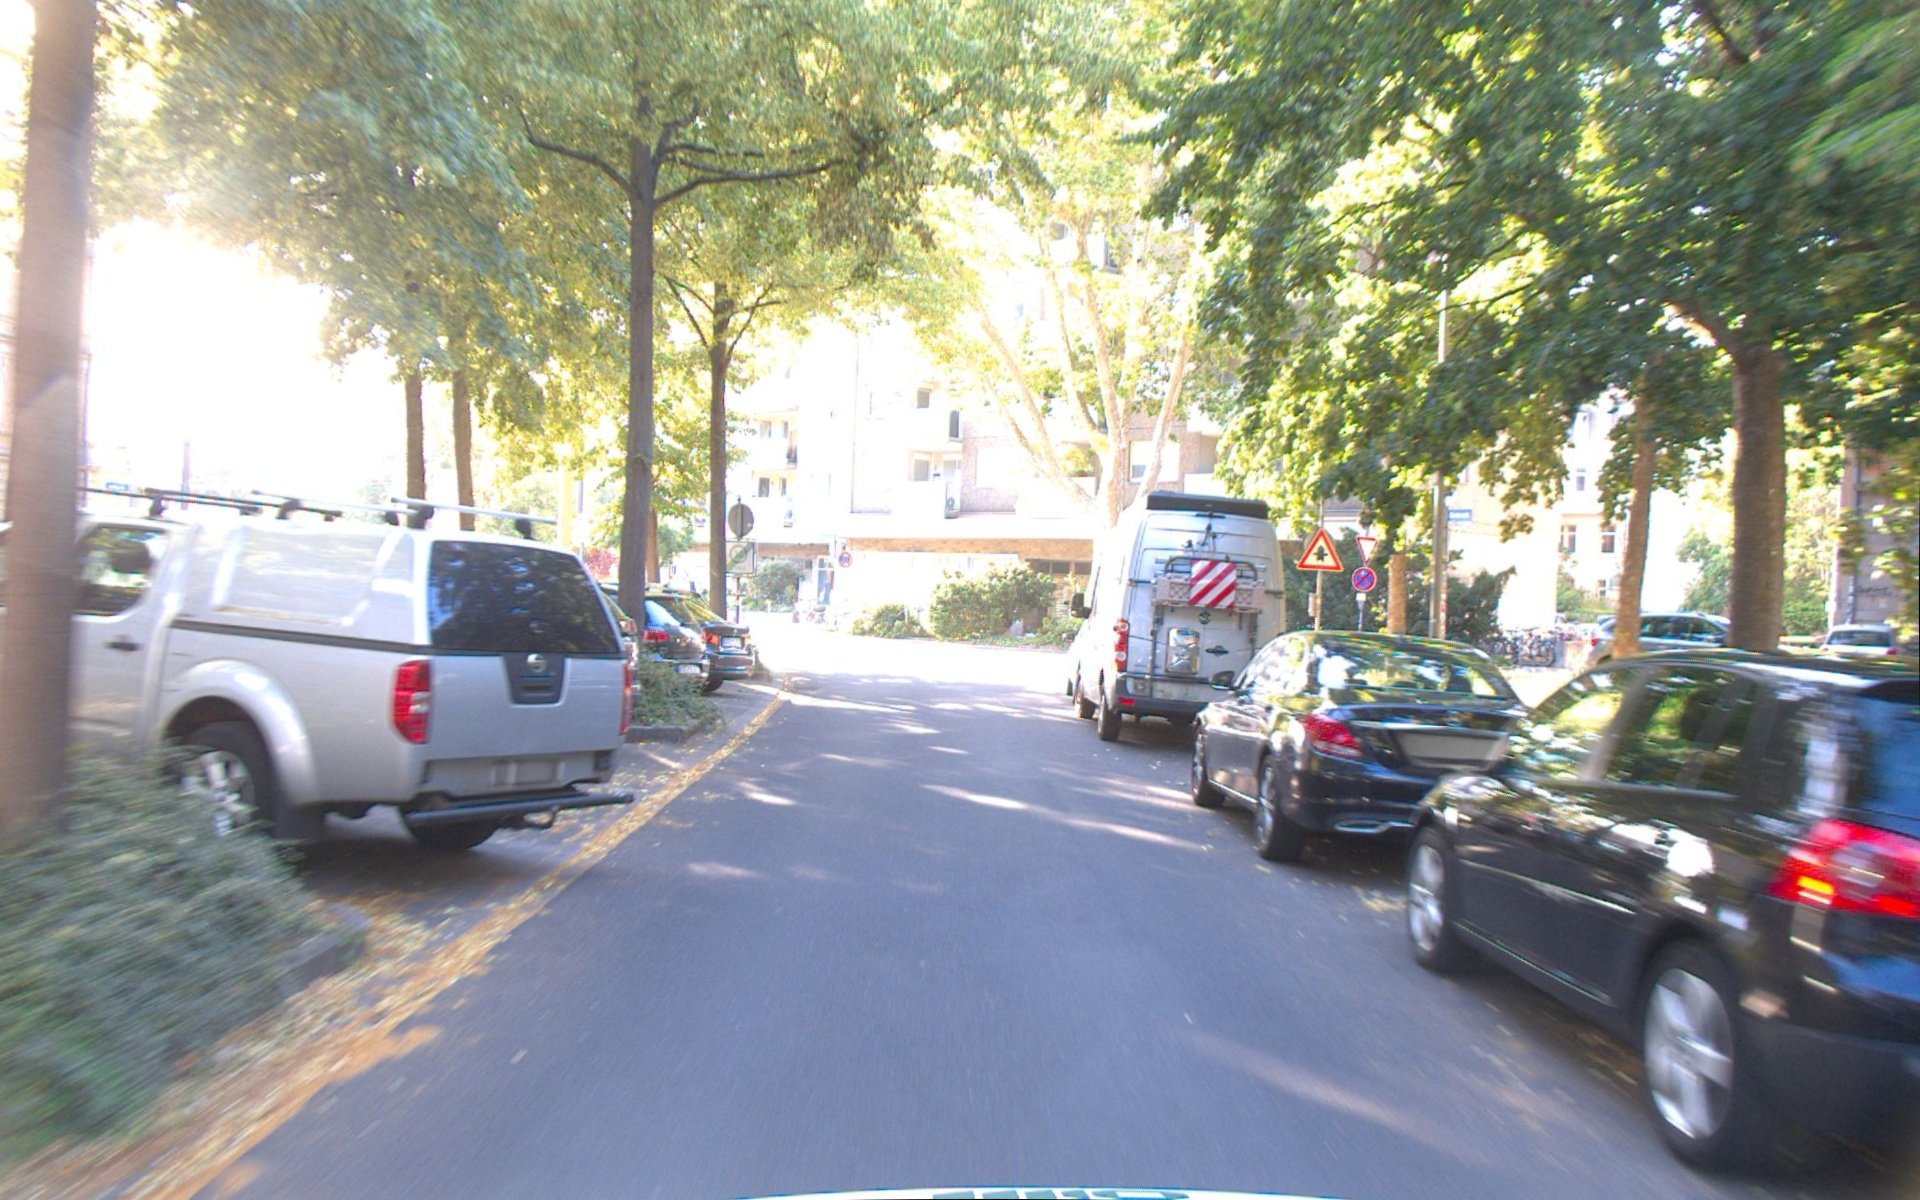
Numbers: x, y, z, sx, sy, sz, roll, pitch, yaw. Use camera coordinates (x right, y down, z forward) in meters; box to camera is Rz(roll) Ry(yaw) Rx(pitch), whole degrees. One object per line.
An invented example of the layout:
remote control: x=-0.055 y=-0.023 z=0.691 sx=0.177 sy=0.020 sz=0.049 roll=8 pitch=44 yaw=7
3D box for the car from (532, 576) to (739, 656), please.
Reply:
car: x=-7.000 y=0.345 z=35.835 sx=3.942 sy=1.430 sz=1.776 roll=3 pitch=0 yaw=12

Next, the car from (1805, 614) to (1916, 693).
car: x=19.702 y=1.119 z=36.116 sx=1.699 sy=1.498 sz=3.987 roll=2 pitch=2 yaw=34

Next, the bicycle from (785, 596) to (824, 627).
bicycle: x=-5.567 y=0.407 z=59.134 sx=0.631 sy=1.040 sz=2.069 roll=2 pitch=0 yaw=-28

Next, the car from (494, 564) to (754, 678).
car: x=-5.560 y=0.345 z=27.389 sx=3.796 sy=1.519 sz=1.831 roll=5 pitch=0 yaw=24

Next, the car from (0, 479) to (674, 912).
car: x=-4.282 y=0.338 z=9.384 sx=4.890 sy=1.812 sz=1.986 roll=5 pitch=0 yaw=26

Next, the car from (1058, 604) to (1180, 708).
car: x=2.591 y=0.877 z=27.705 sx=1.646 sy=1.471 sz=3.872 roll=4 pitch=0 yaw=1

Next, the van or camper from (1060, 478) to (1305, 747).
van or camper: x=2.573 y=0.122 z=20.700 sx=2.042 sy=2.810 sz=5.843 roll=2 pitch=0 yaw=-2

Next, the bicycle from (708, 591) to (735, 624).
bicycle: x=-9.391 y=0.292 z=64.978 sx=0.629 sy=1.247 sz=2.076 roll=2 pitch=0 yaw=-20

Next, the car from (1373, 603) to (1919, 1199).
car: x=2.931 y=0.835 z=6.012 sx=1.646 sy=1.552 sz=4.286 roll=2 pitch=0 yaw=-2

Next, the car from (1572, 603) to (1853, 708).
car: x=13.343 y=0.963 z=29.478 sx=4.203 sy=1.579 sz=1.730 roll=2 pitch=-3 yaw=44

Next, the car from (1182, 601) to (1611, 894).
car: x=2.740 y=0.826 z=11.471 sx=1.646 sy=1.552 sz=4.488 roll=2 pitch=0 yaw=-2

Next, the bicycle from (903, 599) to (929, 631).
bicycle: x=-1.507 y=0.506 z=56.742 sx=0.345 sy=1.056 sz=1.039 roll=1 pitch=0 yaw=-37

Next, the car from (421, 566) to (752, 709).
car: x=-4.878 y=0.465 z=21.651 sx=3.783 sy=1.463 sz=1.831 roll=5 pitch=0 yaw=23

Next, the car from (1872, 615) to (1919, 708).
car: x=17.156 y=1.066 z=26.129 sx=4.561 sy=1.475 sz=1.734 roll=1 pitch=-2 yaw=41

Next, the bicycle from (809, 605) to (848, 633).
bicycle: x=-4.560 y=0.652 z=57.324 sx=0.538 sy=0.920 sz=1.713 roll=2 pitch=0 yaw=-36

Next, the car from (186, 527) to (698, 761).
car: x=-4.797 y=0.354 z=15.299 sx=4.260 sy=1.654 sz=1.939 roll=5 pitch=0 yaw=26

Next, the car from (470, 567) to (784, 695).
car: x=-4.872 y=0.437 z=24.225 sx=4.104 sy=1.463 sz=1.831 roll=5 pitch=0 yaw=23

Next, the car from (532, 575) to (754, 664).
car: x=-6.300 y=0.383 z=33.035 sx=3.889 sy=1.388 sz=1.776 roll=5 pitch=0 yaw=13
